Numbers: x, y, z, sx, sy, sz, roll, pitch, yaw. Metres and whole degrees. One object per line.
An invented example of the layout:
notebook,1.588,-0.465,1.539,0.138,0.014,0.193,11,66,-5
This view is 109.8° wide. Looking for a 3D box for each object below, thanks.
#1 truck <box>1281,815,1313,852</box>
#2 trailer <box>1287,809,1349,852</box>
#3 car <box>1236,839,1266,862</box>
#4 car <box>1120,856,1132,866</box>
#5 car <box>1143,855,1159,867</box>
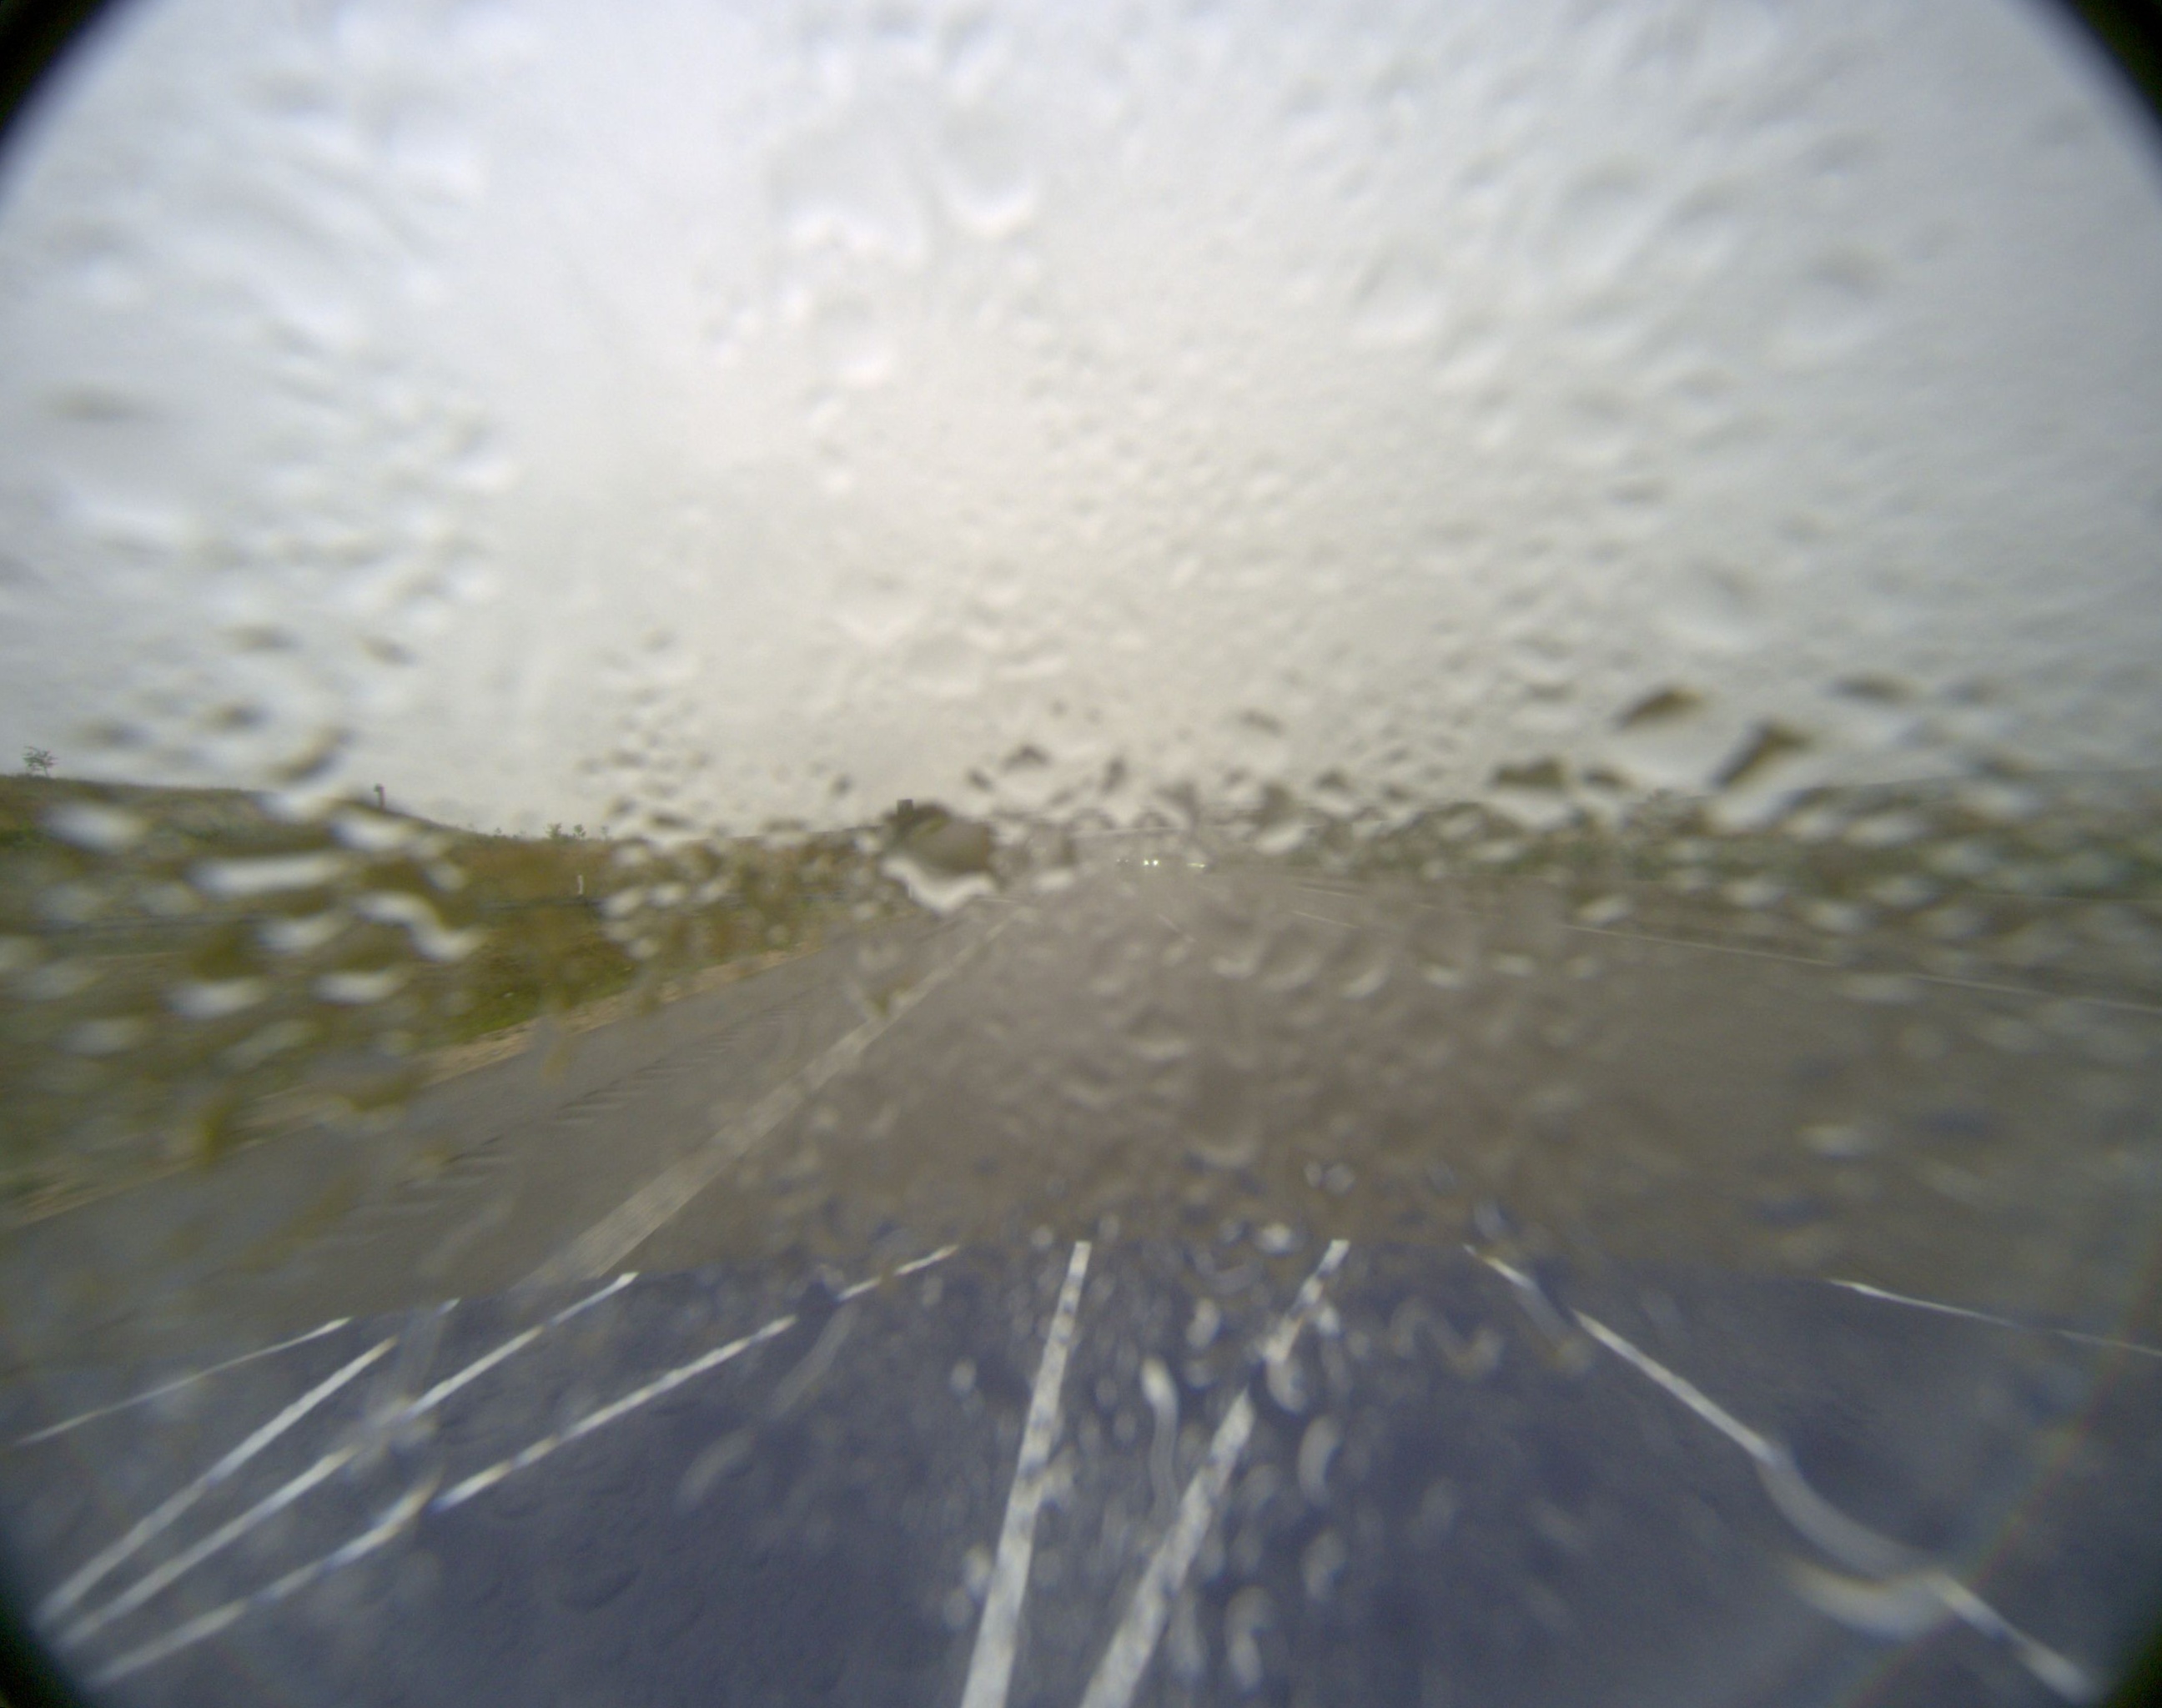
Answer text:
truck,24.240,-2.210,85.466,2.219,3.960,5.185,-1,0,2
trailer,24.039,-2.193,78.012,2.229,3.973,14.208,-1,0,2
car,21.452,-0.451,96.343,2.503,2.690,6.206,-2,0,1
car,7.282,1.144,124.330,1.701,1.543,3.733,-2,1,0
car,9.349,0.889,101.328,1.701,1.543,3.733,-2,1,0
